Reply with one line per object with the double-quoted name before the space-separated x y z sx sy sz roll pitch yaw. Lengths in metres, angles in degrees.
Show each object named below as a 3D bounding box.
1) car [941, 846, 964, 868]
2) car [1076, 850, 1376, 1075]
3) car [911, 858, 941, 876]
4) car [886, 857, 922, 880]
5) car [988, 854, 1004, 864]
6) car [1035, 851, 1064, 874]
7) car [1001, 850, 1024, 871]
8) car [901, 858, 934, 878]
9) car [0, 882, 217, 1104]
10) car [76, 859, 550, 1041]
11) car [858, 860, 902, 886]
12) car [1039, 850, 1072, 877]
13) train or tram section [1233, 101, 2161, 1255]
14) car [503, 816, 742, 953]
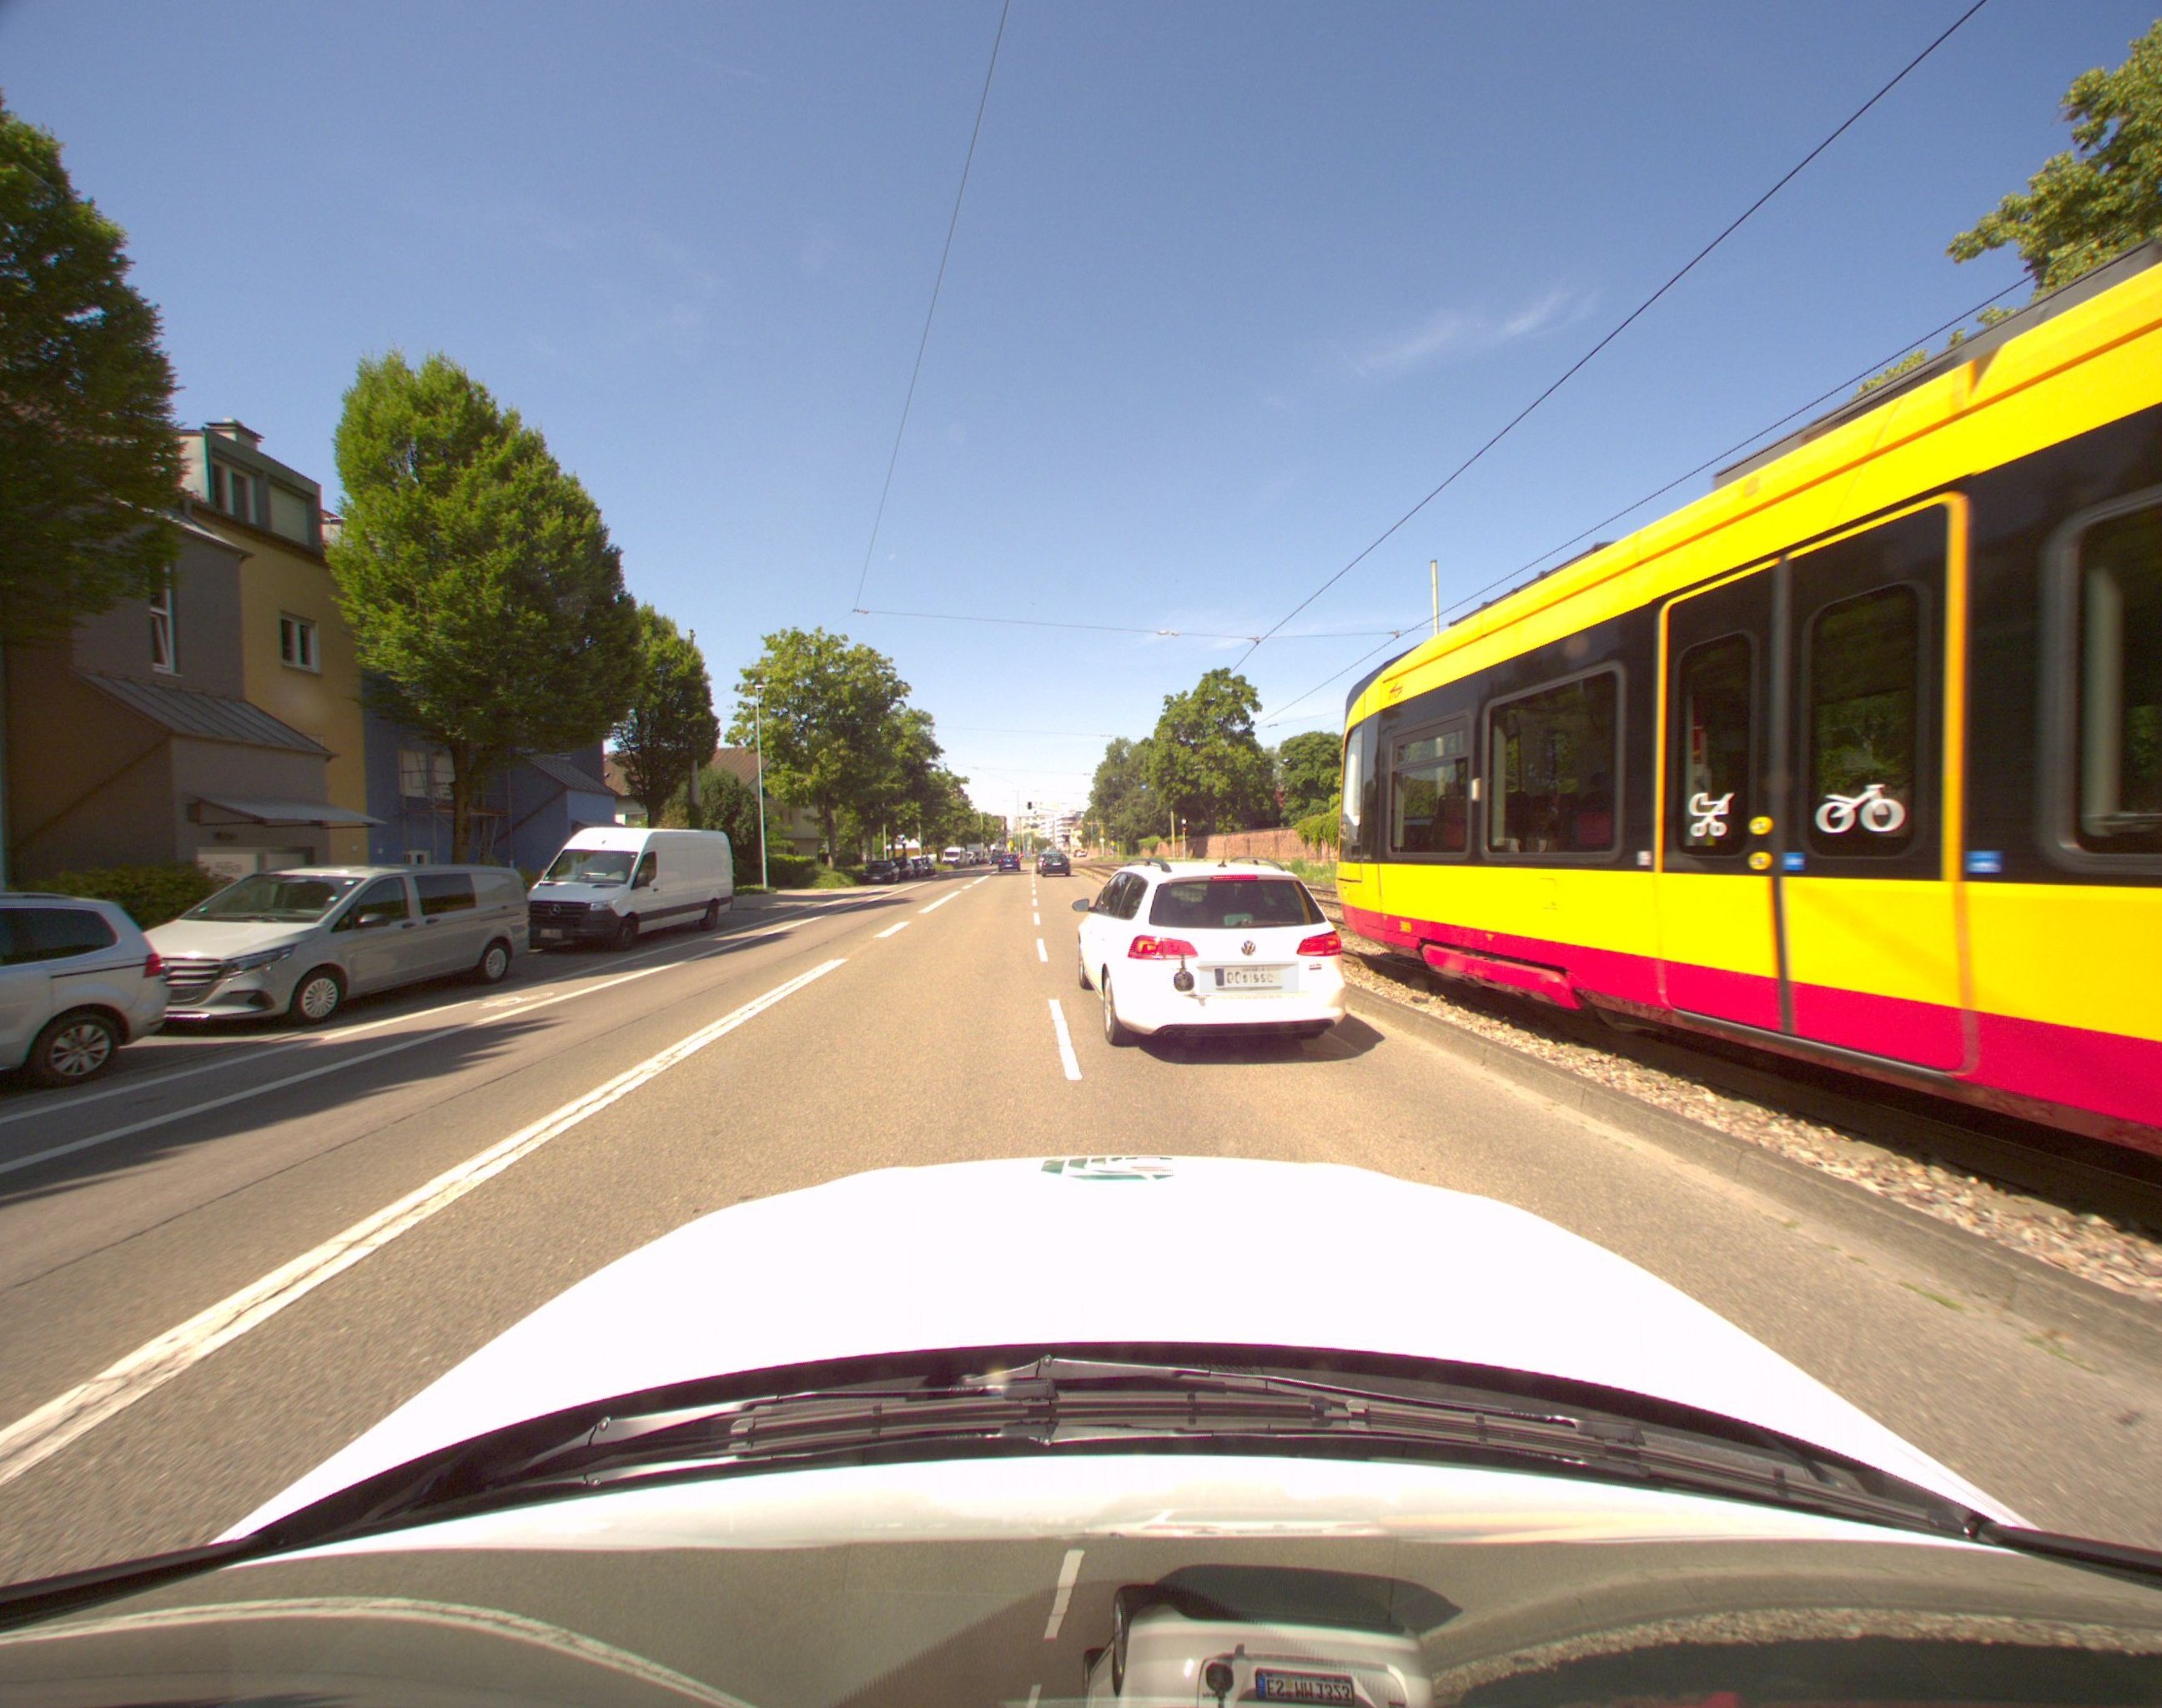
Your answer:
"car" -15.265 0.333 97.237 1.874 2.415 5.115 -2 0 0
"car" 0.986 0.715 7.755 1.688 1.451 4.451 -2 0 -5
"car" -12.964 1.054 68.419 1.694 1.352 3.999 -2 0 0
"car" -12.515 1.023 57.798 1.694 1.482 3.999 -2 0 0
"car" -11.283 0.640 107.989 1.695 1.273 3.997 -2 0 -2
"car" -2.211 0.535 56.031 1.797 1.460 3.994 -1 1 -4
"car" -5.437 0.514 64.987 1.797 1.507 3.994 -1 1 -4
"car" -12.647 1.061 63.109 1.694 1.352 3.999 -2 0 0
"car" -9.647 1.163 5.838 1.796 1.724 4.904 1 0 -3
"car" -10.162 1.073 11.630 1.916 1.948 5.347 0 0 -4
"car" -12.371 1.121 50.408 1.694 1.417 3.999 -2 0 0
"car" -1.596 0.517 48.981 1.797 1.507 3.994 -1 1 -4
"train or tram section" 4.431 -0.607 7.614 2.507 3.747 13.291 -2 0 -4
"car" -10.579 0.608 19.739 1.990 2.714 7.149 0 0 -3
